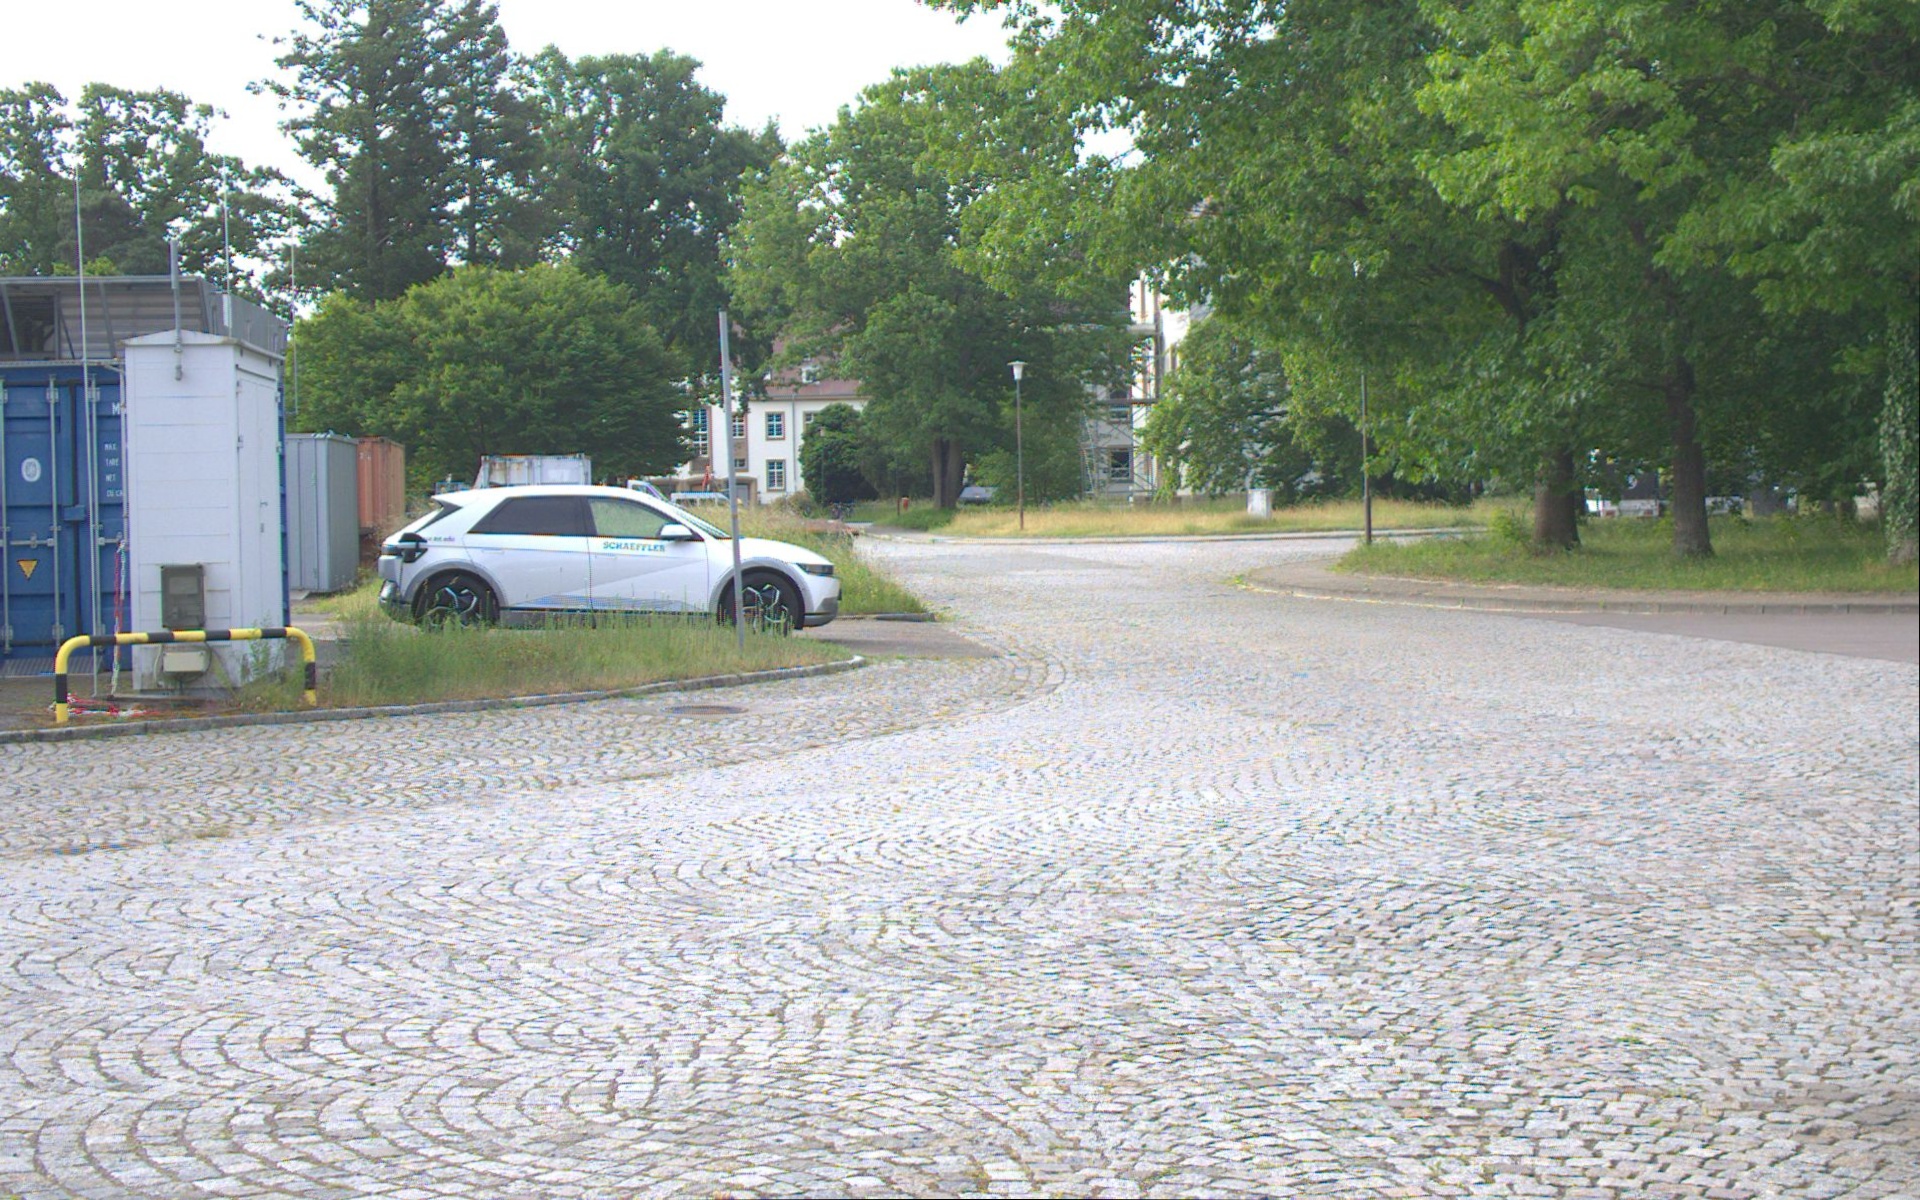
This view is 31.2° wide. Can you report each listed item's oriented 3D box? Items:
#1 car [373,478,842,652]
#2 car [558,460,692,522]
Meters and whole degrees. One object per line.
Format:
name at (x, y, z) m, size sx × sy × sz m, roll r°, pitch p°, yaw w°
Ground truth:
car at (-3.489, -0.376, 34.630) m, size 4.533 × 1.594 × 2.000 m, roll -1°, pitch 2°, yaw -3°
car at (-13.206, -4.294, 135.715) m, size 5.169 × 2.329 × 2.001 m, roll -1°, pitch 2°, yaw -5°
